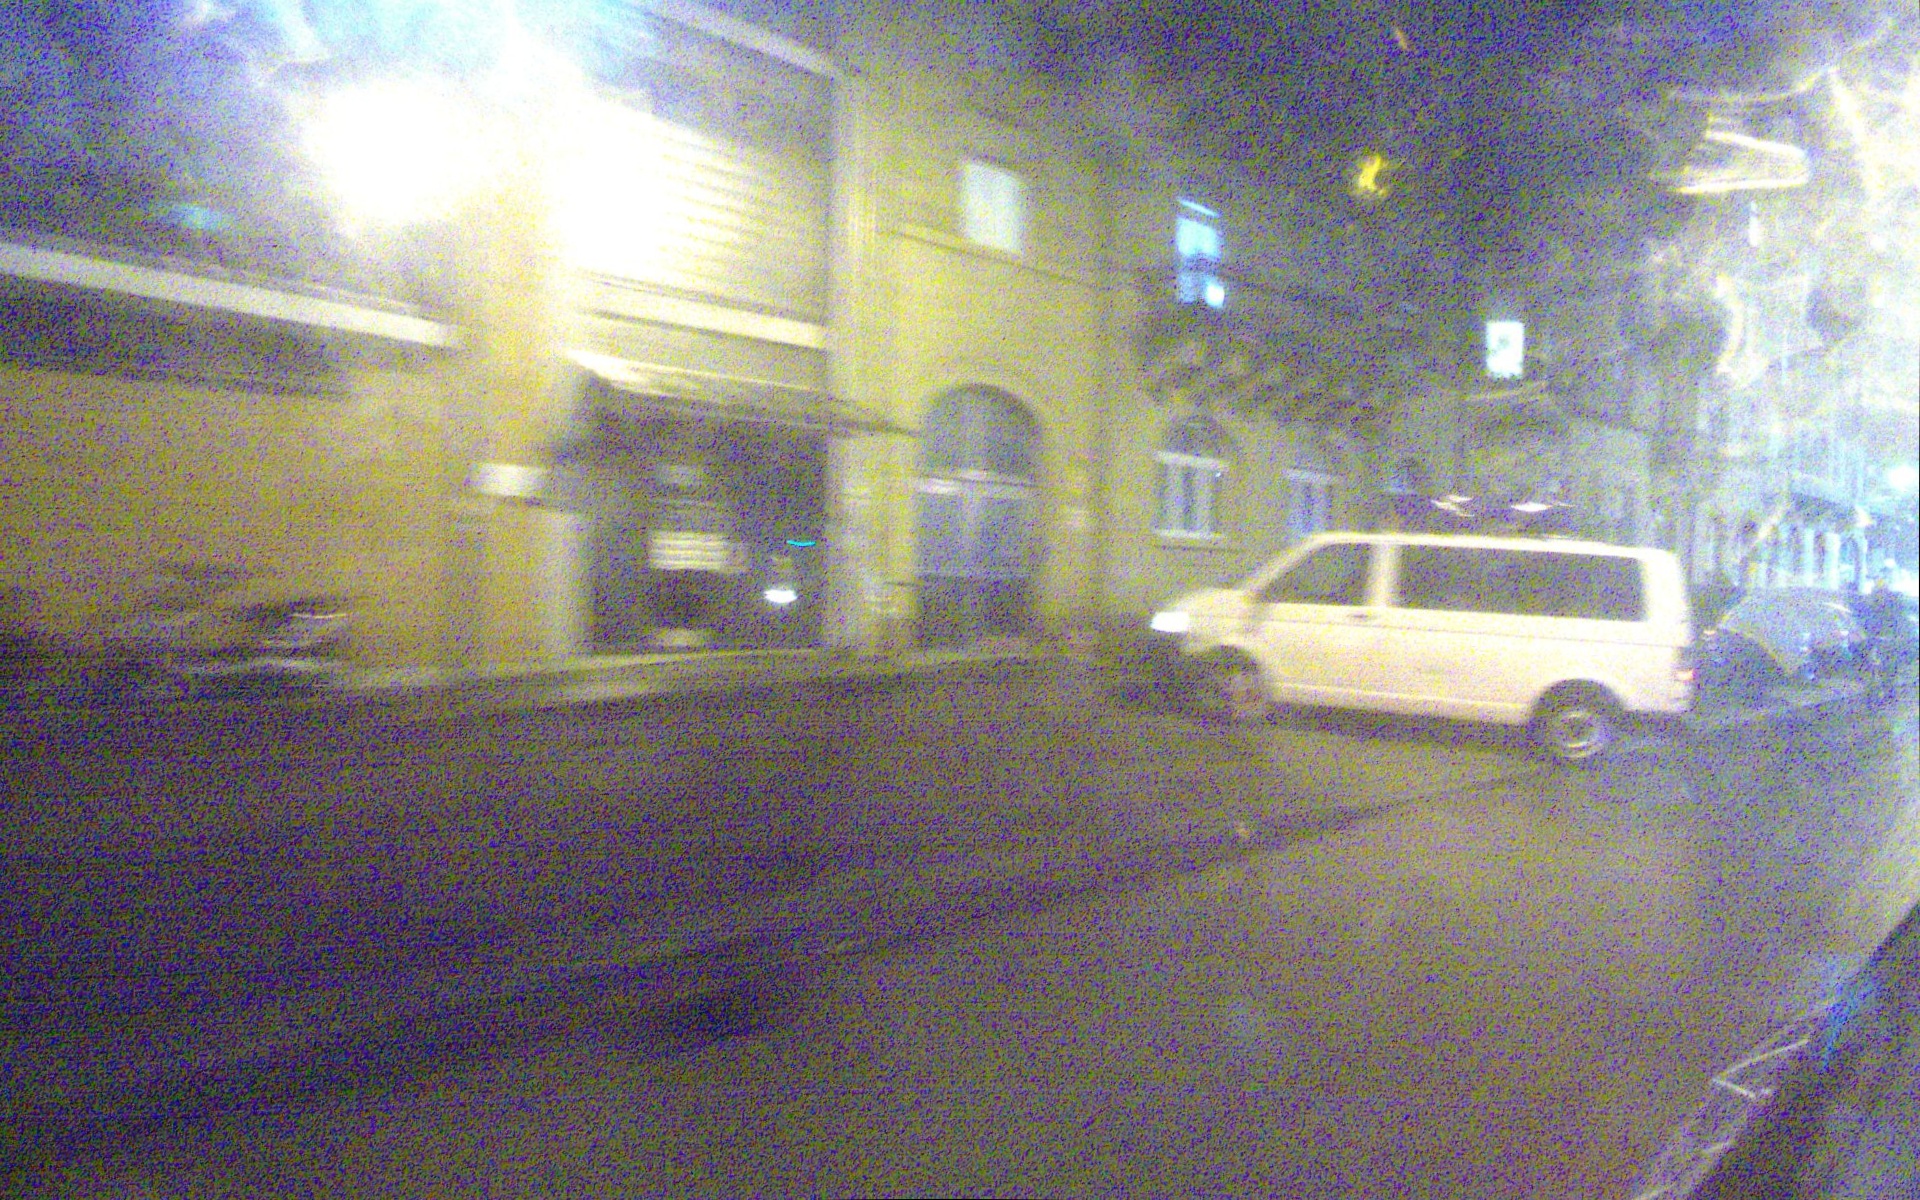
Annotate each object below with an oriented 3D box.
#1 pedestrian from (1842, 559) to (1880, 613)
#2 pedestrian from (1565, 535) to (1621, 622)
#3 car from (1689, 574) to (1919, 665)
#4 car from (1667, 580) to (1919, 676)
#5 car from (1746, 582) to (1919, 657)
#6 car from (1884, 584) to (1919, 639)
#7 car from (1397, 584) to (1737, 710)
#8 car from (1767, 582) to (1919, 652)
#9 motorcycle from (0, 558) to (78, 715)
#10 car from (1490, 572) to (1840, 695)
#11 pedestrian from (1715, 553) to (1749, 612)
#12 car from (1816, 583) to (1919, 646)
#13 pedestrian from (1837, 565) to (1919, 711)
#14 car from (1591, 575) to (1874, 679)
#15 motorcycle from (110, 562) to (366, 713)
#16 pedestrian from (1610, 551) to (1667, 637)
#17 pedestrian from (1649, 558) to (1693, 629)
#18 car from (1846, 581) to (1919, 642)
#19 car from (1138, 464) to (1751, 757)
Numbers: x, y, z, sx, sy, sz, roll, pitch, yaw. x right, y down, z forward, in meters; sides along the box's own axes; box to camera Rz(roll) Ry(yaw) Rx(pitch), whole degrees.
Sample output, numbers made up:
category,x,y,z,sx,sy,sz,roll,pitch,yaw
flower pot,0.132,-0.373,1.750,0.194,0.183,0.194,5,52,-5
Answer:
category,x,y,z,sx,sy,sz,roll,pitch,yaw
pedestrian,33.364,-0.505,37.462,0.868,1.930,0.806,3,1,-38
pedestrian,14.632,-0.499,23.402,0.827,1.928,0.748,3,1,-38
car,17.710,0.347,21.026,3.759,1.710,1.822,2,2,23
car,15.531,0.468,18.946,3.349,1.580,1.587,2,2,16
car,20.410,0.421,23.179,3.350,1.580,1.630,2,2,17
car,29.775,0.381,29.639,3.548,1.580,1.705,2,2,15
car,7.930,0.542,13.624,3.687,1.487,1.601,1,1,23
car,22.314,0.403,24.900,3.438,1.580,1.627,2,2,20
motorcycle,-7.213,0.253,6.714,0.523,1.081,2.025,1,1,45
car,10.356,0.411,15.268,4.009,1.580,1.737,2,2,24
pedestrian,22.608,-0.515,29.636,0.590,1.685,0.575,3,1,-38
car,25.290,0.415,26.457,4.056,1.510,1.587,3,2,15
pedestrian,12.051,0.458,13.095,1.156,1.792,0.824,0,1,-38
car,13.096,0.398,17.394,3.464,1.580,1.586,2,2,17
motorcycle,-5.634,0.259,7.962,1.595,1.081,0.524,0,1,-40
pedestrian,15.366,-0.135,22.929,0.854,1.863,0.748,3,1,-38
pedestrian,18.843,-0.172,26.831,0.769,1.812,0.657,3,1,-38
car,27.448,0.361,28.468,3.350,1.611,1.587,3,2,17
car,4.398,-0.012,10.041,4.879,2.370,2.218,2,2,19
